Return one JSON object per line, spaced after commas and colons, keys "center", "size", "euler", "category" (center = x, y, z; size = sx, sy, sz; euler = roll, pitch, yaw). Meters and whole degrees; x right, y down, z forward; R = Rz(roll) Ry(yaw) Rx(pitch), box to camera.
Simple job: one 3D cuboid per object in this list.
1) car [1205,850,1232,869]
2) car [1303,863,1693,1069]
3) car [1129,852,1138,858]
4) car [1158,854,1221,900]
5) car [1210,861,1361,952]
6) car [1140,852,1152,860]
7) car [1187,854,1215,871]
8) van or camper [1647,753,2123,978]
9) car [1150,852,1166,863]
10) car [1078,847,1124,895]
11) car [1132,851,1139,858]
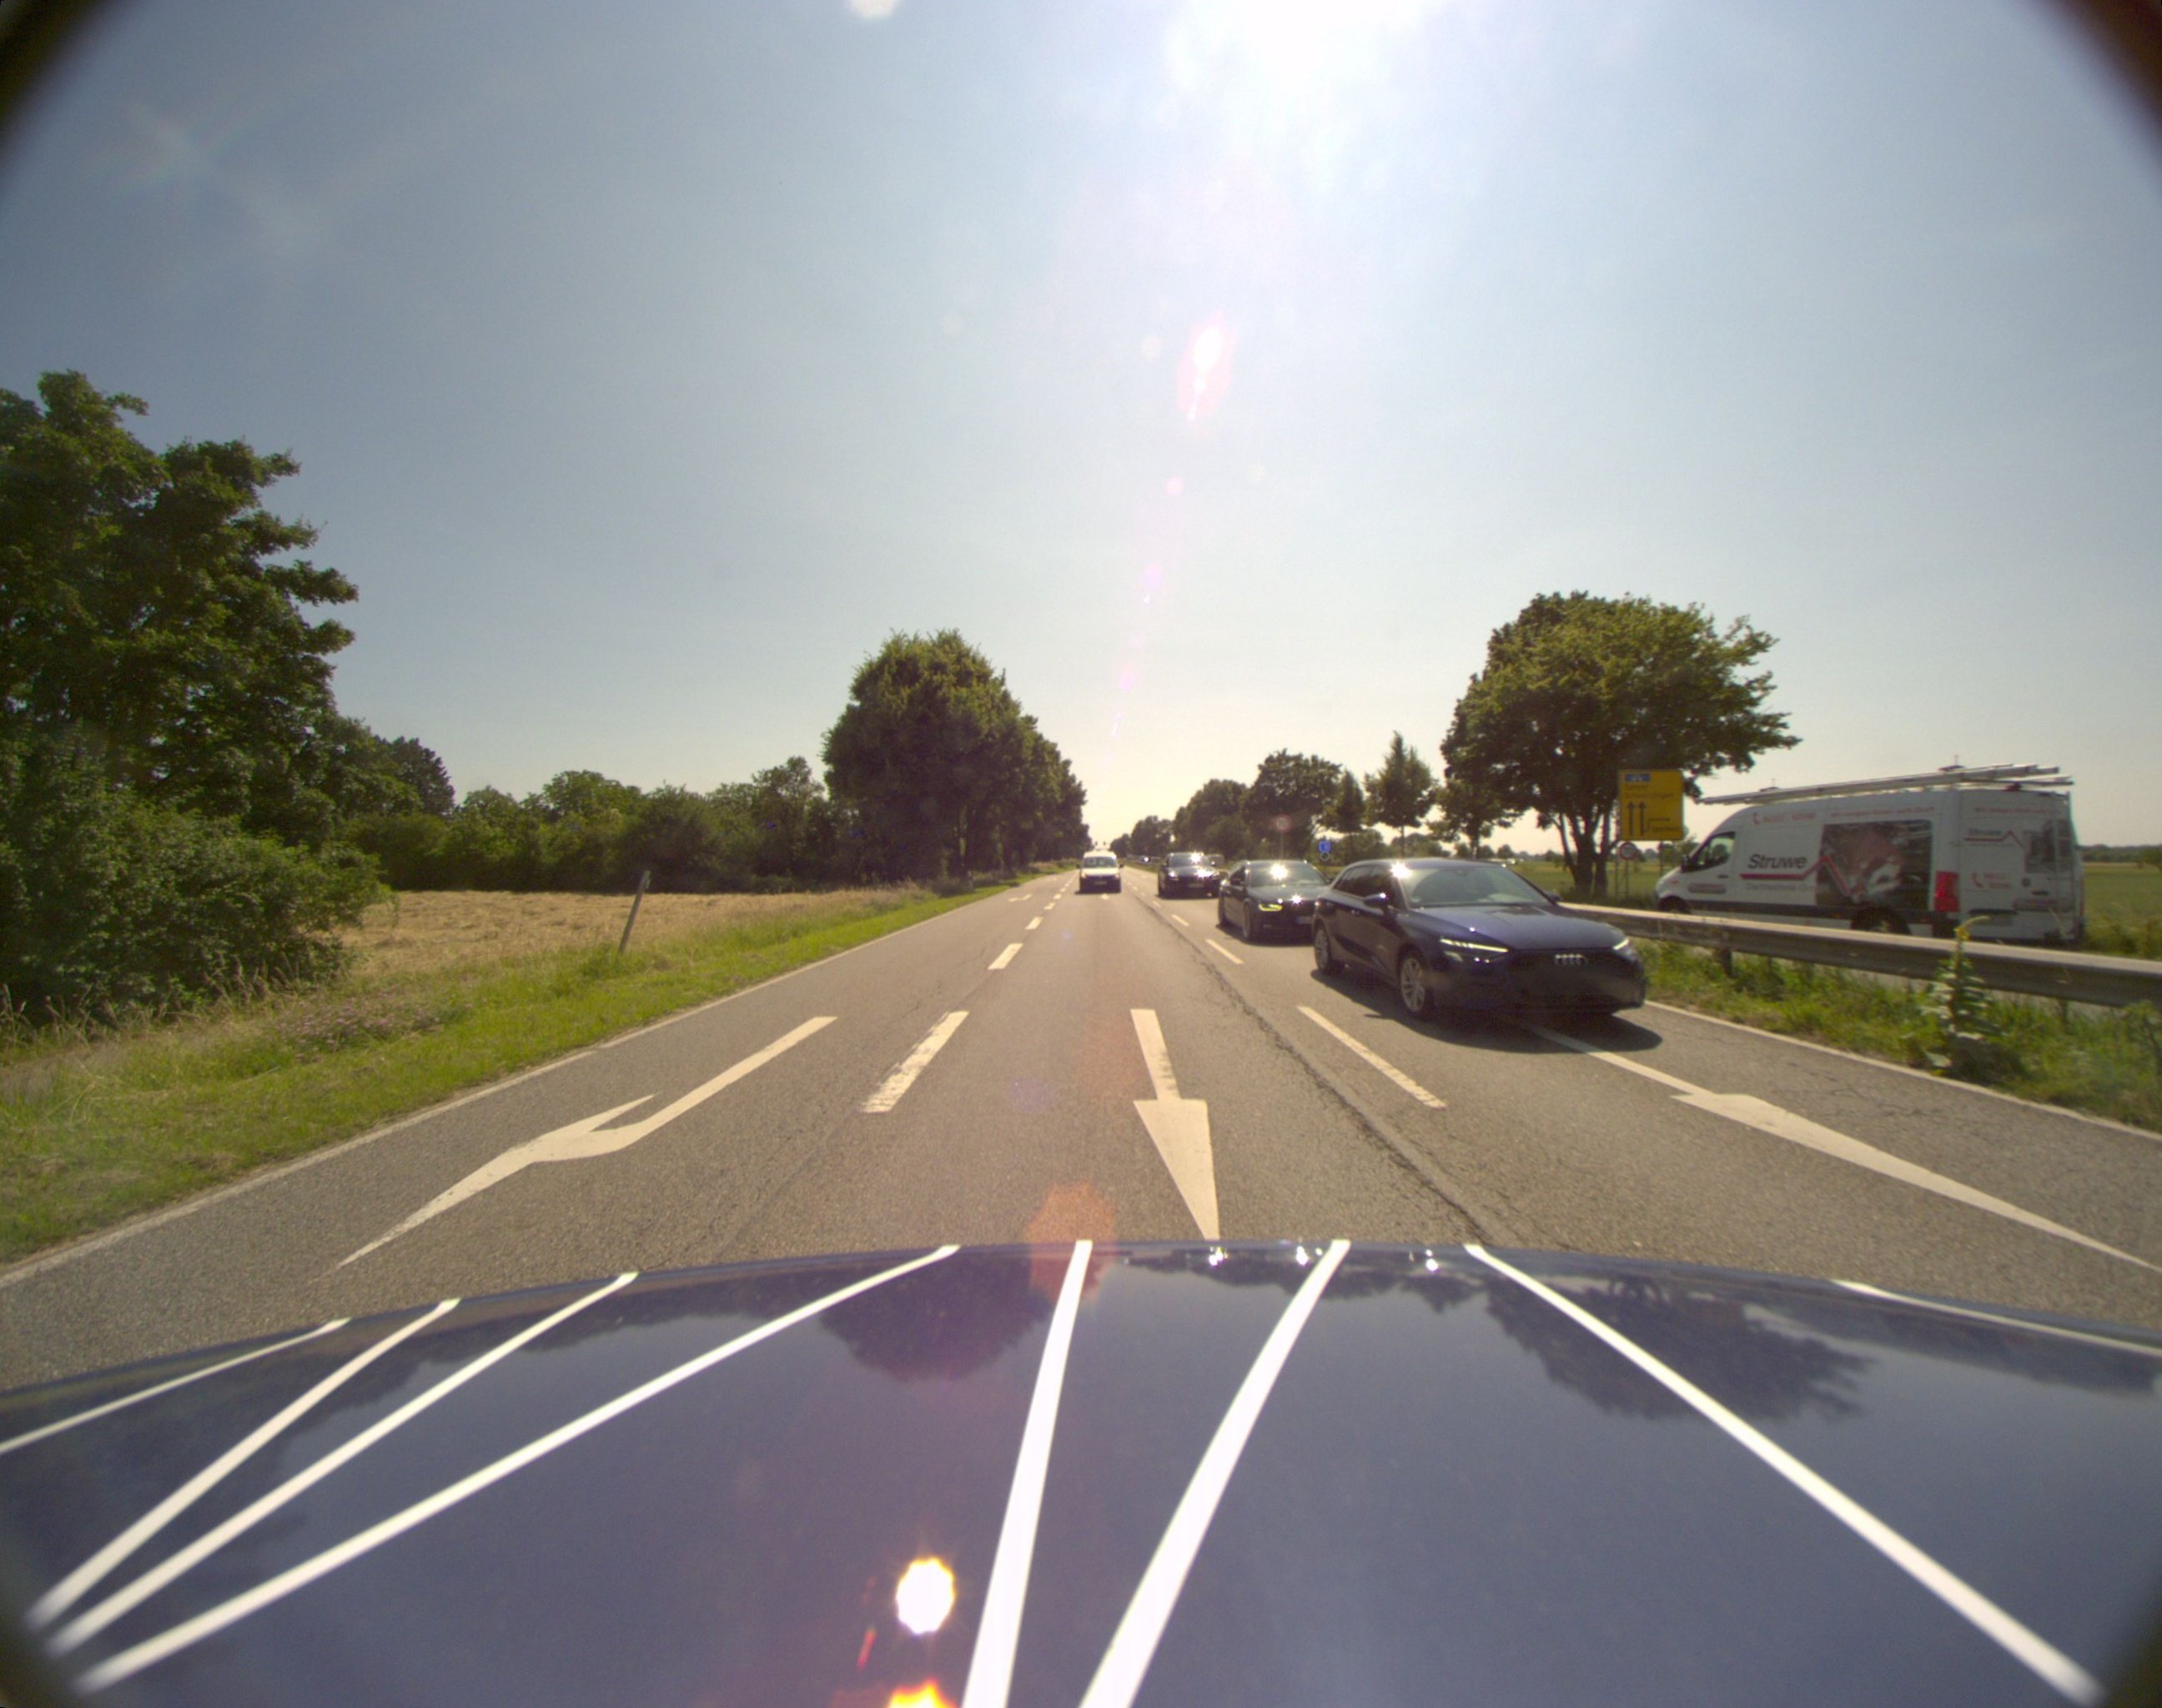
{"center": [14.692, 0.544, 81.637], "size": [1.998, 1.940, 4.830], "euler": [1, 0, 0], "category": "car"}
{"center": [3.725, 0.863, 7.722], "size": [1.721, 1.456, 4.030], "euler": [-2, 0, 0], "category": "car"}
{"center": [13.872, 0.357, 199.852], "size": [1.998, 1.547, 4.480], "euler": [0, 0, 0], "category": "car"}
{"center": [3.926, 0.799, 28.118], "size": [1.860, 1.507, 4.100], "euler": [-1, 0, 2], "category": "car"}
{"center": [3.701, 0.880, 14.557], "size": [1.744, 1.372, 4.455], "euler": [-2, 0, 1], "category": "car"}
{"center": [12.321, 0.384, 143.838], "size": [1.998, 1.653, 4.480], "euler": [0, 0, 0], "category": "car"}
{"center": [10.772, 0.712, 68.632], "size": [1.884, 1.446, 4.504], "euler": [0, 0, 0], "category": "car"}
{"center": [13.164, 0.167, 13.284], "size": [2.269, 3.081, 5.695], "euler": [0, 0, 0], "category": "van or camper"}
{"center": [11.634, 0.531, 115.647], "size": [1.998, 1.594, 4.480], "euler": [0, 0, 0], "category": "car"}
{"center": [0.809, 0.687, 32.680], "size": [1.777, 1.863, 4.581], "euler": [-2, 0, 0], "category": "car"}
{"center": [17.175, 0.132, 238.530], "size": [2.043, 2.002, 4.532], "euler": [0, 0, 0], "category": "car"}
